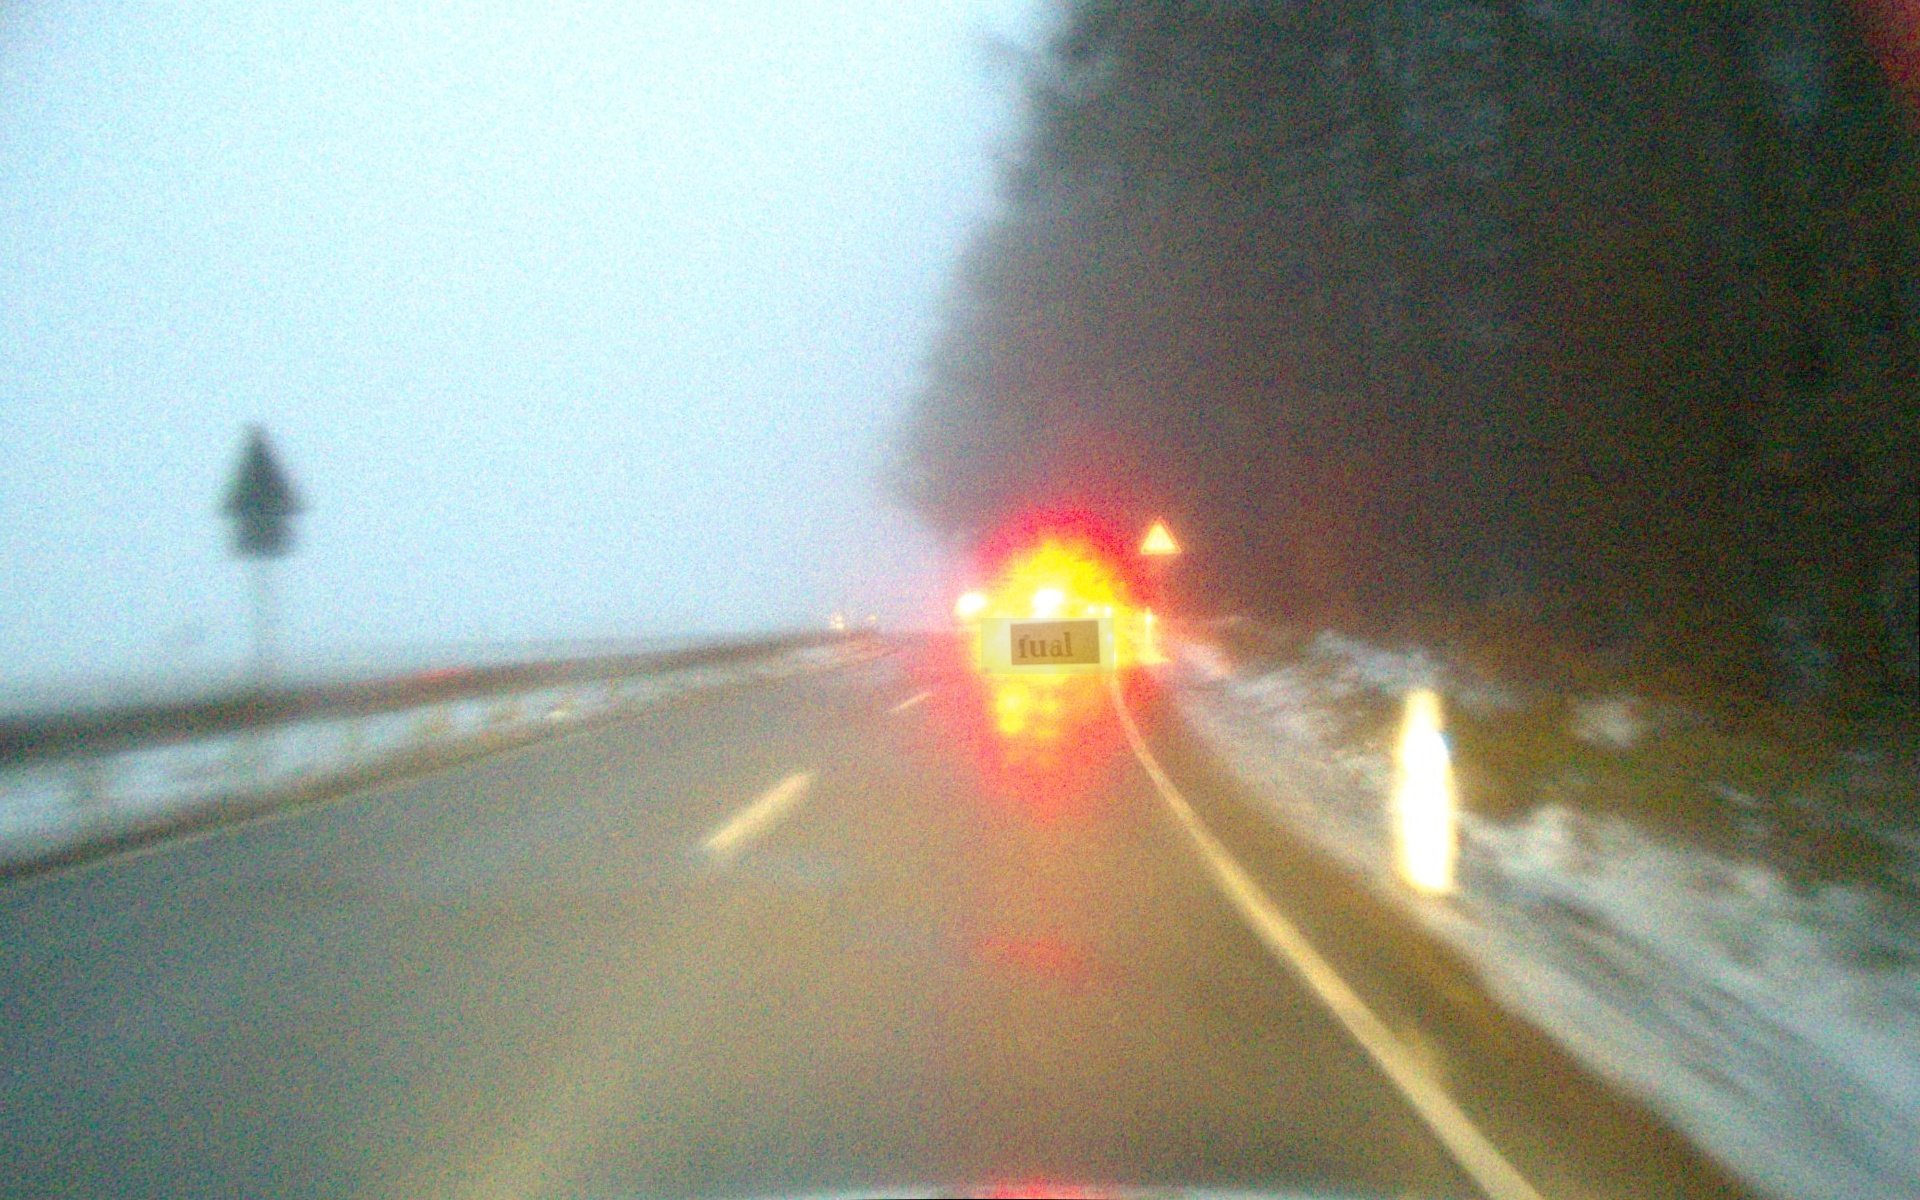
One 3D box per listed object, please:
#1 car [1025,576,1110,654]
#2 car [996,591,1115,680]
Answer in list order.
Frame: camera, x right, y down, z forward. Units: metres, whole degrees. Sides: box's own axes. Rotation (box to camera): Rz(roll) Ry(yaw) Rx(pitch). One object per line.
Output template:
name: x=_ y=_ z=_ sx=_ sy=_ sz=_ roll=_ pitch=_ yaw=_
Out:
car: x=2.629 y=0.349 z=40.460 sx=1.952 sy=1.814 sz=4.002 roll=0 pitch=0 yaw=4
car: x=1.742 y=0.589 z=28.919 sx=1.904 sy=1.405 sz=4.002 roll=1 pitch=0 yaw=5
